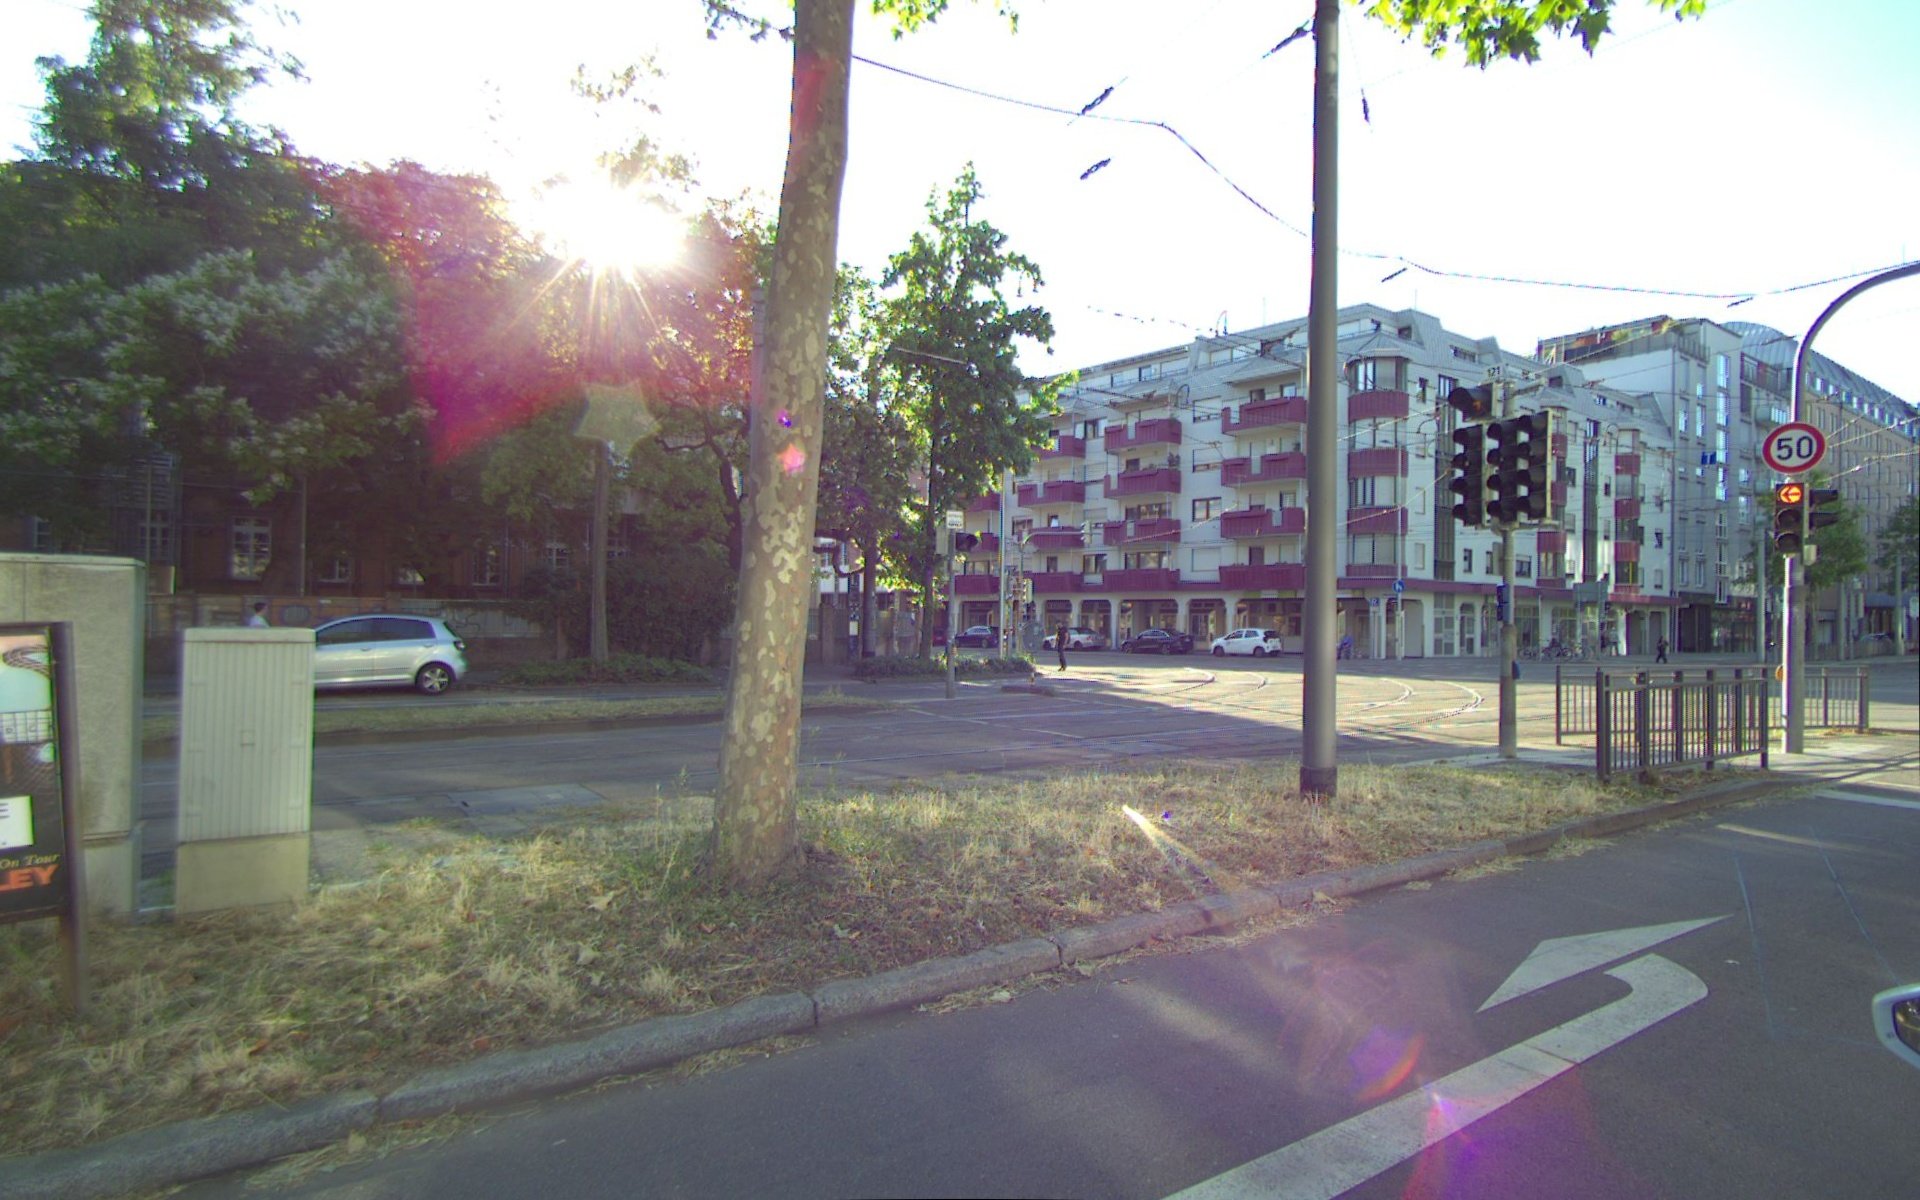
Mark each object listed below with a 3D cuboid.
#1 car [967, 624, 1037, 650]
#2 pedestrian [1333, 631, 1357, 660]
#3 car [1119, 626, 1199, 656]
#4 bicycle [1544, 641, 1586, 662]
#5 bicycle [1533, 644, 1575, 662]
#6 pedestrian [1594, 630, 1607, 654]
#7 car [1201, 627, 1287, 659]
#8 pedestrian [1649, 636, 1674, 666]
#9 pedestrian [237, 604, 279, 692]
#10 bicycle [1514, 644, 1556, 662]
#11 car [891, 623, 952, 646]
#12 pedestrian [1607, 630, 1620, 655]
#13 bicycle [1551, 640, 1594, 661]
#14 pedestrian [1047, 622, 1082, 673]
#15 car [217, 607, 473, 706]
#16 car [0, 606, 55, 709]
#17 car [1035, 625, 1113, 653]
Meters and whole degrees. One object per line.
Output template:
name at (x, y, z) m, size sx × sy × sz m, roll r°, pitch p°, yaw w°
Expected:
car at (2.728, 2.420, 66.239) m, size 1.986 × 1.576 × 4.527 m, roll 2°, pitch -2°, yaw -42°
pedestrian at (19.122, 2.257, 49.914) m, size 0.848 × 1.402 × 0.831 m, roll 0°, pitch -1°, yaw 45°
car at (11.167, 2.273, 56.613) m, size 1.986 × 1.576 × 4.072 m, roll 2°, pitch -2°, yaw -42°
bicycle at (31.429, 2.675, 52.205) m, size 0.548 × 0.998 × 1.830 m, roll 1°, pitch -1°, yaw -36°
bicycle at (30.416, 2.684, 51.452) m, size 0.547 × 0.865 × 1.833 m, roll 1°, pitch -1°, yaw -32°
pedestrian at (39.540, 2.593, 62.019) m, size 0.582 × 1.514 × 0.530 m, roll 1°, pitch -1°, yaw -38°
car at (14.897, 2.247, 52.768) m, size 1.986 × 1.576 × 3.950 m, roll 2°, pitch -2°, yaw -42°
pedestrian at (37.932, 2.755, 54.300) m, size 0.680 × 1.564 × 1.050 m, roll 0°, pitch -1°, yaw 5°
pedestrian at (-13.804, 0.930, 19.748) m, size 0.626 × 1.687 × 0.563 m, roll 1°, pitch 1°, yaw -37°
bicycle at (29.498, 2.689, 51.531) m, size 0.547 × 0.865 × 1.833 m, roll 1°, pitch -1°, yaw -32°
car at (-2.803, 2.452, 72.211) m, size 1.986 × 1.576 × 4.527 m, roll 2°, pitch -2°, yaw -42°
pedestrian at (39.985, 2.603, 61.467) m, size 0.582 × 1.514 × 0.530 m, roll 1°, pitch -1°, yaw -38°
bicycle at (31.986, 2.632, 52.457) m, size 0.548 × 0.998 × 1.830 m, roll 1°, pitch -1°, yaw -36°
pedestrian at (3.661, 1.648, 35.161) m, size 1.010 × 1.775 × 0.728 m, roll 1°, pitch -1°, yaw -38°
car at (-11.960, 1.044, 19.625) m, size 4.062 × 1.641 × 2.065 m, roll 2°, pitch 1°, yaw -38°
car at (-17.070, 0.868, 15.506) m, size 4.418 × 1.522 × 2.065 m, roll 2°, pitch 1°, yaw -38°
car at (6.894, 2.355, 61.200) m, size 1.986 × 1.576 × 4.527 m, roll 2°, pitch -2°, yaw -42°
